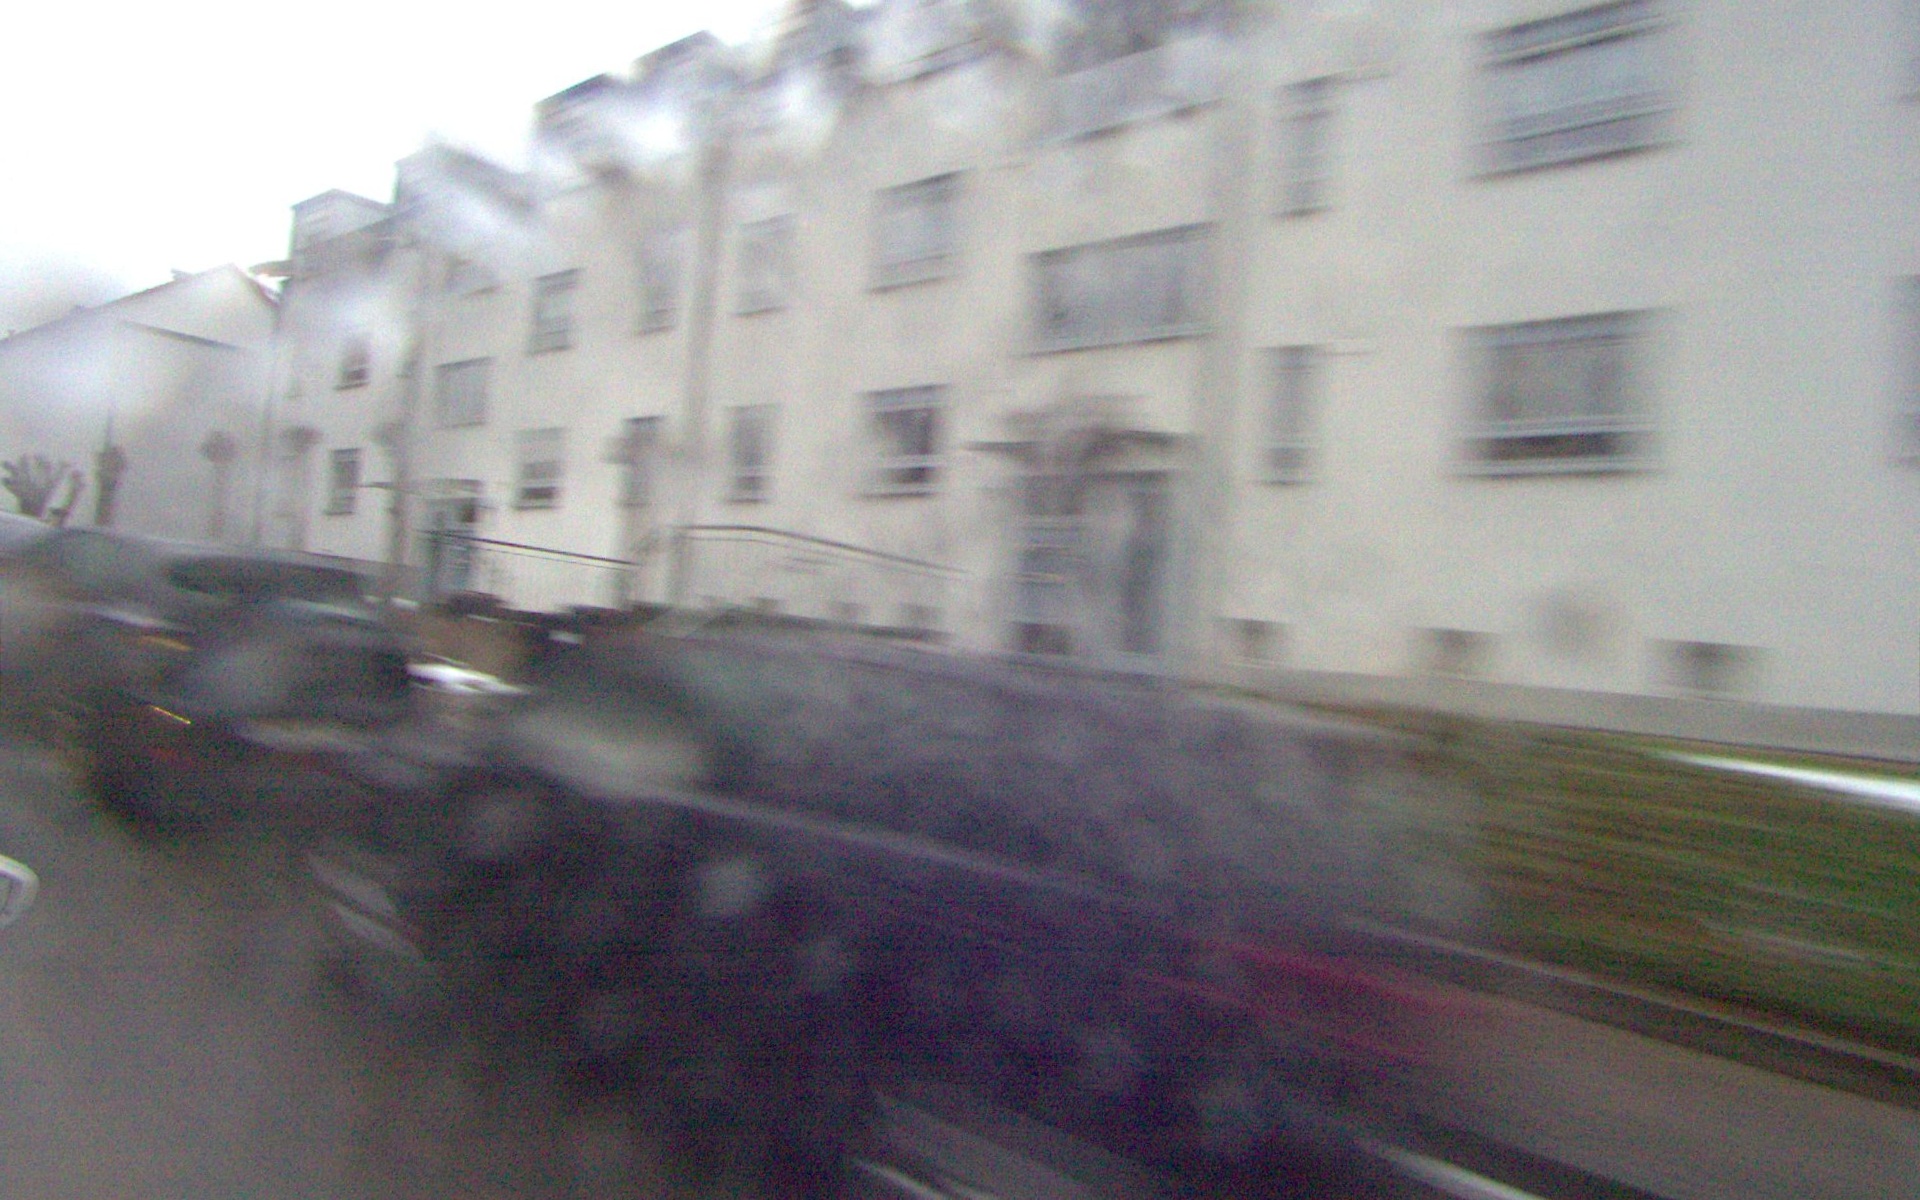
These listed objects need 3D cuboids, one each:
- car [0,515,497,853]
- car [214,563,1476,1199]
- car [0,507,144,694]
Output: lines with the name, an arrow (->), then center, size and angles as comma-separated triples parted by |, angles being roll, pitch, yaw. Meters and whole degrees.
car -> -5.058, 0.290, 6.279 | 4.457, 1.407, 1.658 | 6, -1, 32
car -> -0.639, 0.794, 3.446 | 4.056, 1.407, 1.657 | 6, -1, 33
car -> -9.491, -0.188, 9.222 | 4.490, 1.445, 1.659 | 6, -4, 33
